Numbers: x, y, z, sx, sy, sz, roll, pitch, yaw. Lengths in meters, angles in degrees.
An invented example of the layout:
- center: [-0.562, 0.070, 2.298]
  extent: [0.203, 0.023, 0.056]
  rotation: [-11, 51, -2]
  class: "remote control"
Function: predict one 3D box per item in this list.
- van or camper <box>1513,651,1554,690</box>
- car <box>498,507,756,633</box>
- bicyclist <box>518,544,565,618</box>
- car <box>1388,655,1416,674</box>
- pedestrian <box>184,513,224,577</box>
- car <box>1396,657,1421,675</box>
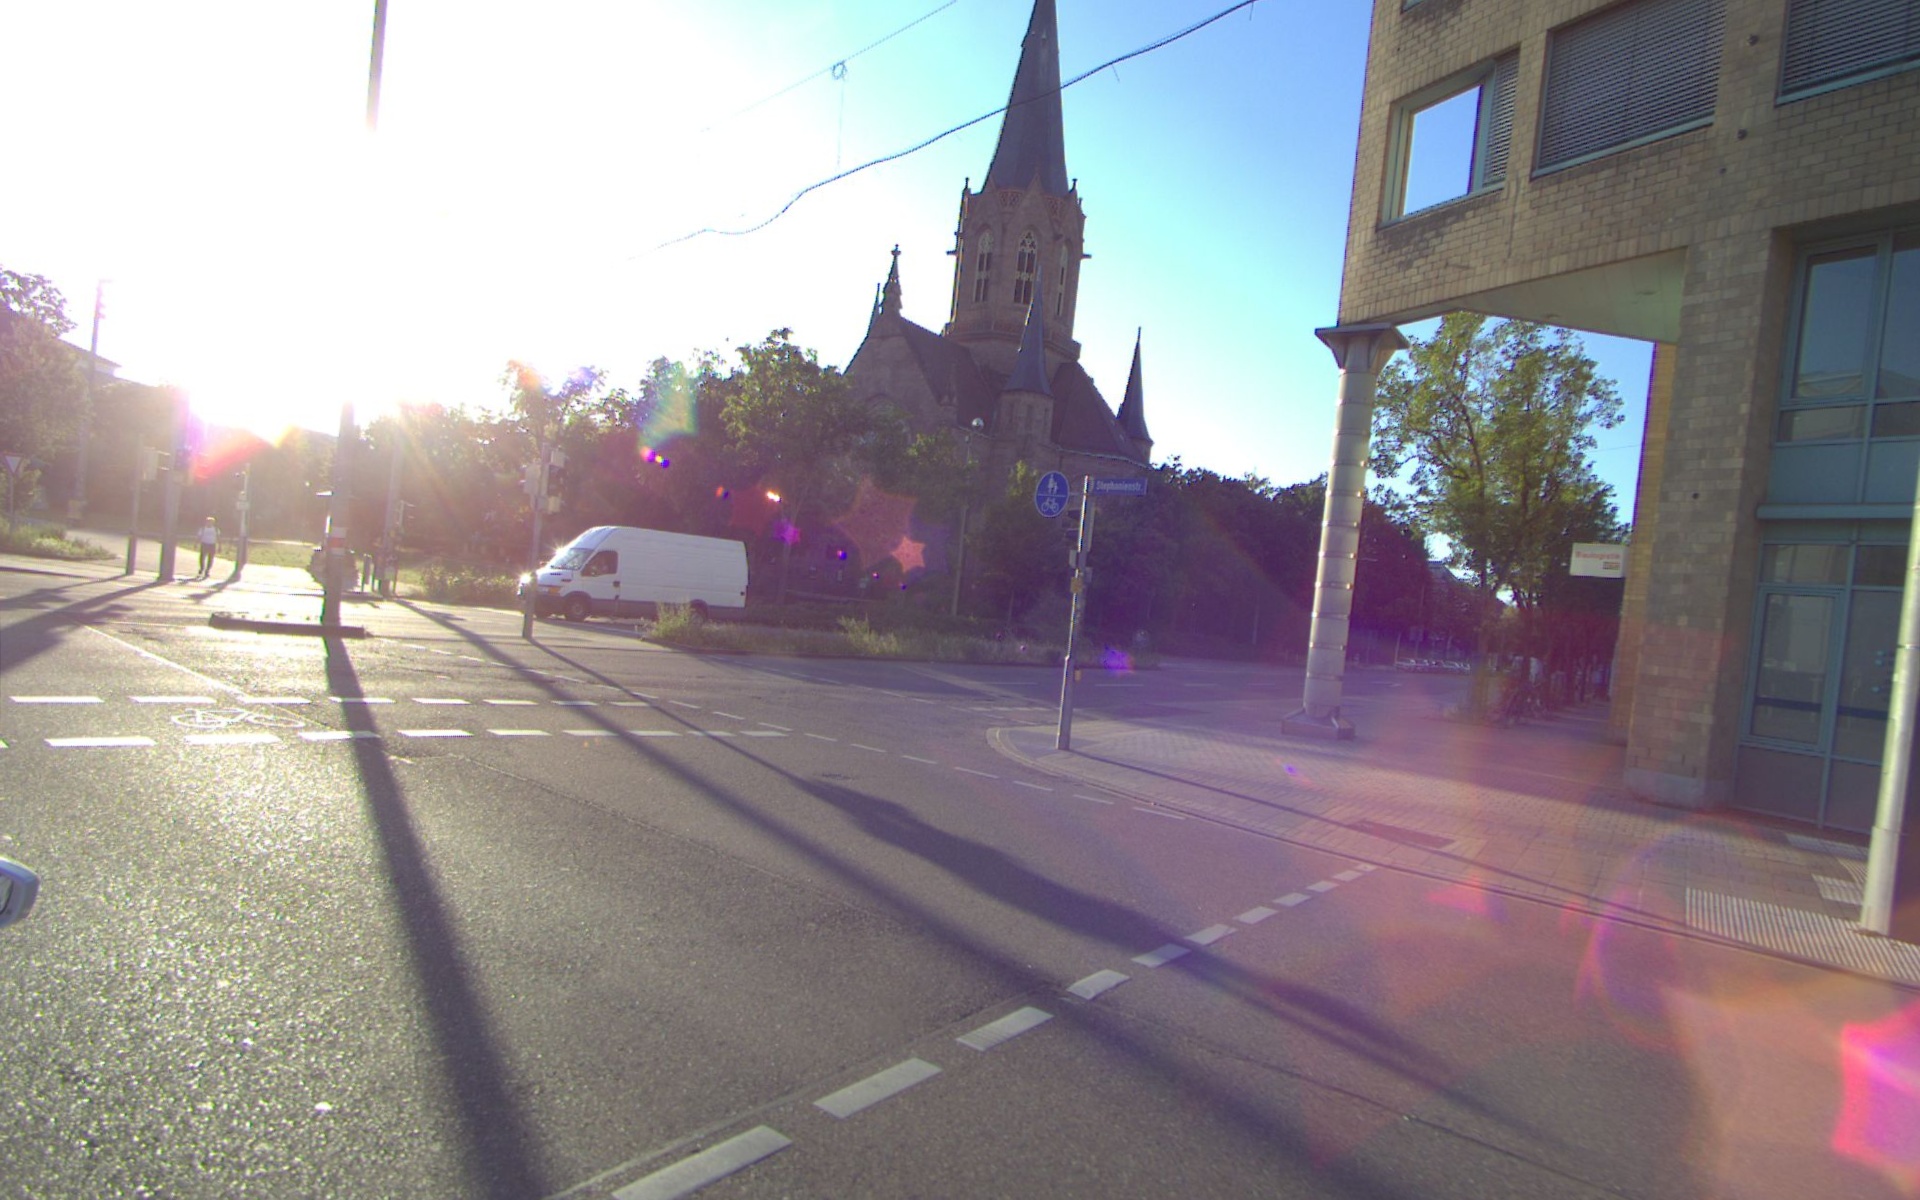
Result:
- center: [47.601, 5.863, 83.500]
  extent: [2.123, 2.878, 4.387]
  rotation: [7, 0, 38]
  class: "van or camper"
- center: [-9.469, -0.741, 29.413]
  extent: [2.061, 2.863, 7.007]
  rotation: [7, 0, 38]
  class: "car"
- center: [-12.297, -0.550, 29.563]
  extent: [0.712, 2.039, 0.897]
  rotation: [7, 1, 41]
  class: "bicyclist"
- center: [44.391, 6.489, 100.958]
  extent: [1.875, 1.638, 3.992]
  rotation: [7, 0, 31]
  class: "car"
- center: [-22.892, -1.668, 30.460]
  extent: [0.828, 1.826, 0.802]
  rotation: [6, 1, -38]
  class: "pedestrian"
- center: [46.867, 6.909, 105.126]
  extent: [1.966, 1.678, 3.994]
  rotation: [7, 0, 29]
  class: "car"
